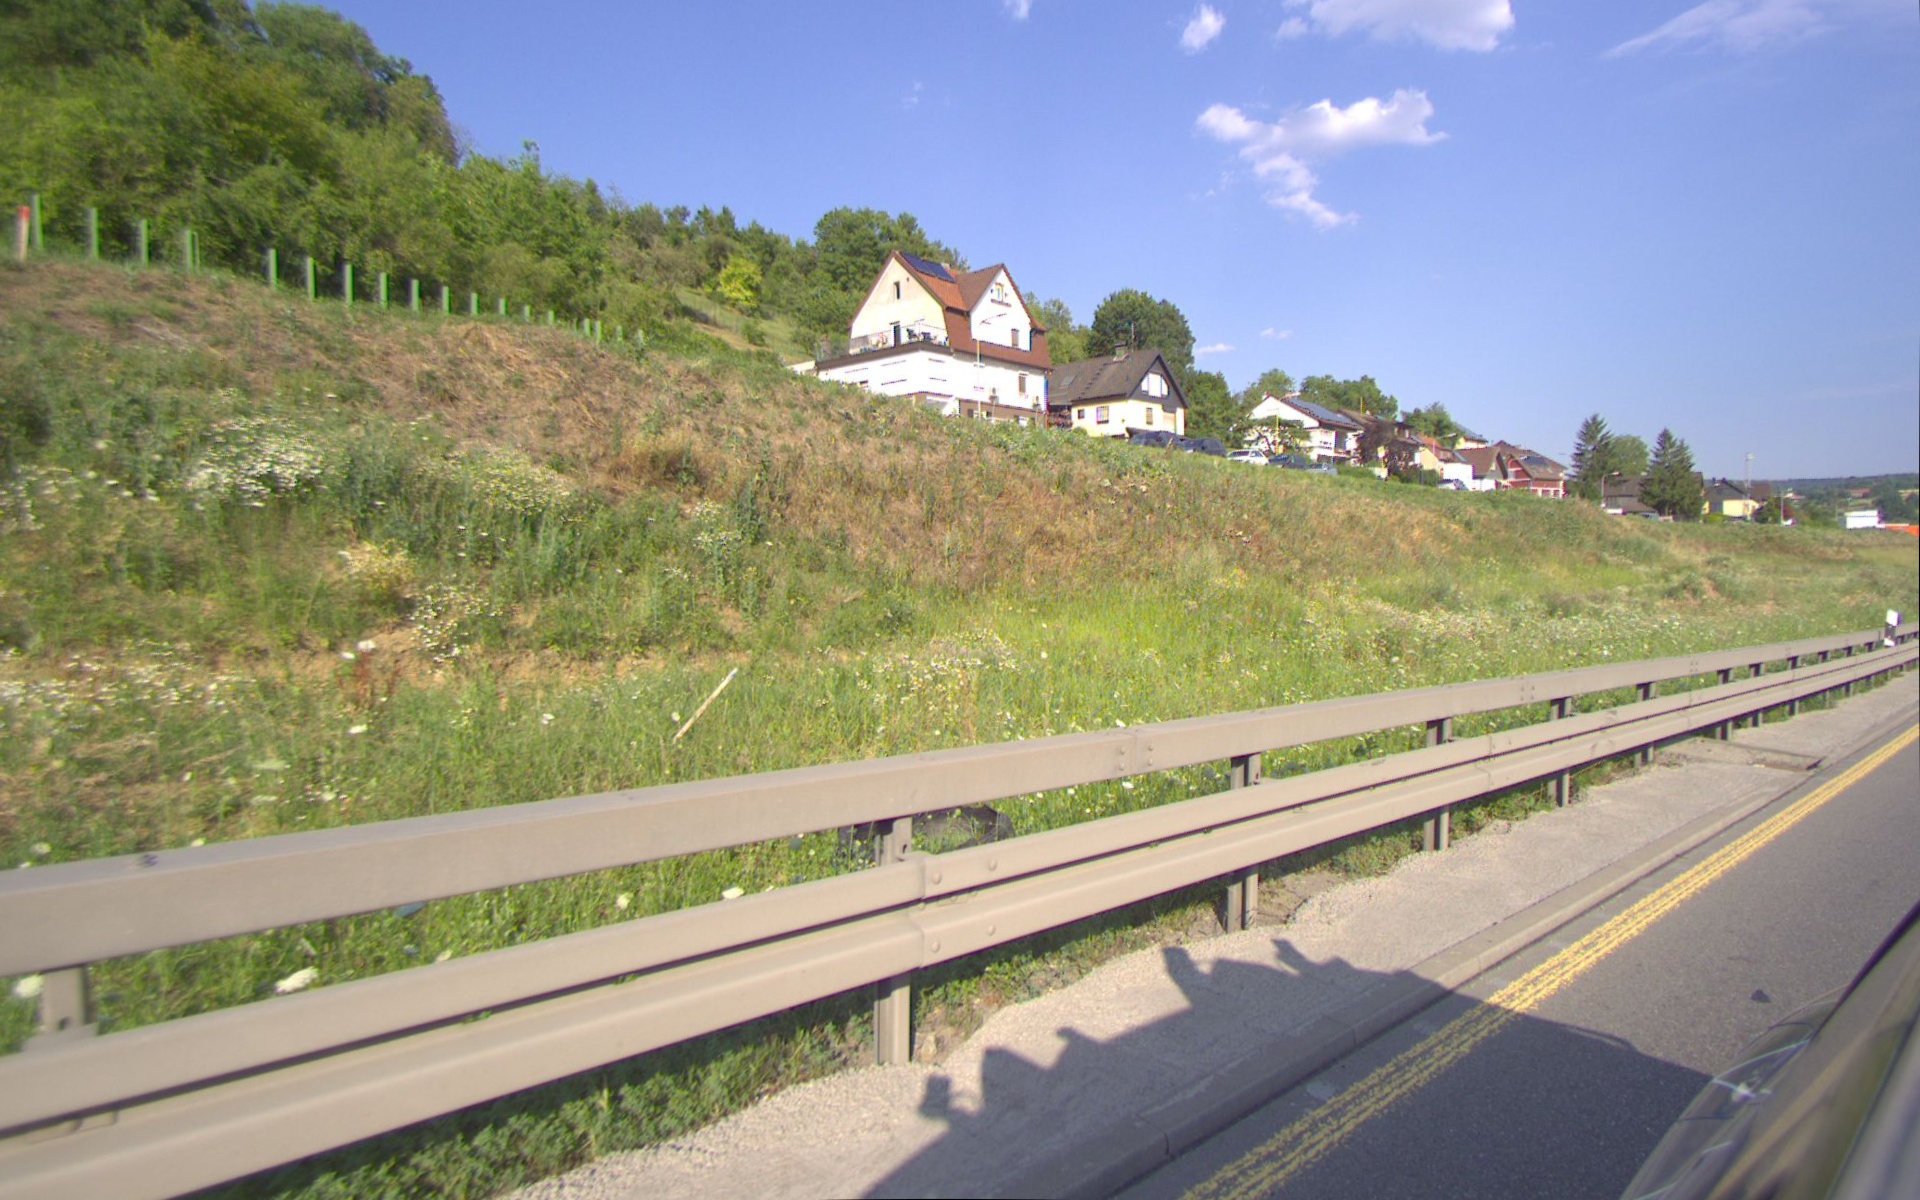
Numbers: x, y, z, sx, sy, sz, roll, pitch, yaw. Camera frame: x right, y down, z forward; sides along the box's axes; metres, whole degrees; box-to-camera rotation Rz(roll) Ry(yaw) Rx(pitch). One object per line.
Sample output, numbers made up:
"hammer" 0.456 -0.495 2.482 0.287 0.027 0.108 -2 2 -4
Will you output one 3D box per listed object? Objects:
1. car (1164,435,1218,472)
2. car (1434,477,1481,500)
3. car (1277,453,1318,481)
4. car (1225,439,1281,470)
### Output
"car" 11.732 -7.408 51.305 1.356 1.476 3.185 0 1 41
"car" 39.335 -8.796 80.025 3.931 1.460 1.997 -1 1 -41
"car" 20.274 -7.953 60.704 1.340 1.339 3.299 0 1 37
"car" 16.396 -8.098 56.489 1.344 1.248 3.838 0 1 45
